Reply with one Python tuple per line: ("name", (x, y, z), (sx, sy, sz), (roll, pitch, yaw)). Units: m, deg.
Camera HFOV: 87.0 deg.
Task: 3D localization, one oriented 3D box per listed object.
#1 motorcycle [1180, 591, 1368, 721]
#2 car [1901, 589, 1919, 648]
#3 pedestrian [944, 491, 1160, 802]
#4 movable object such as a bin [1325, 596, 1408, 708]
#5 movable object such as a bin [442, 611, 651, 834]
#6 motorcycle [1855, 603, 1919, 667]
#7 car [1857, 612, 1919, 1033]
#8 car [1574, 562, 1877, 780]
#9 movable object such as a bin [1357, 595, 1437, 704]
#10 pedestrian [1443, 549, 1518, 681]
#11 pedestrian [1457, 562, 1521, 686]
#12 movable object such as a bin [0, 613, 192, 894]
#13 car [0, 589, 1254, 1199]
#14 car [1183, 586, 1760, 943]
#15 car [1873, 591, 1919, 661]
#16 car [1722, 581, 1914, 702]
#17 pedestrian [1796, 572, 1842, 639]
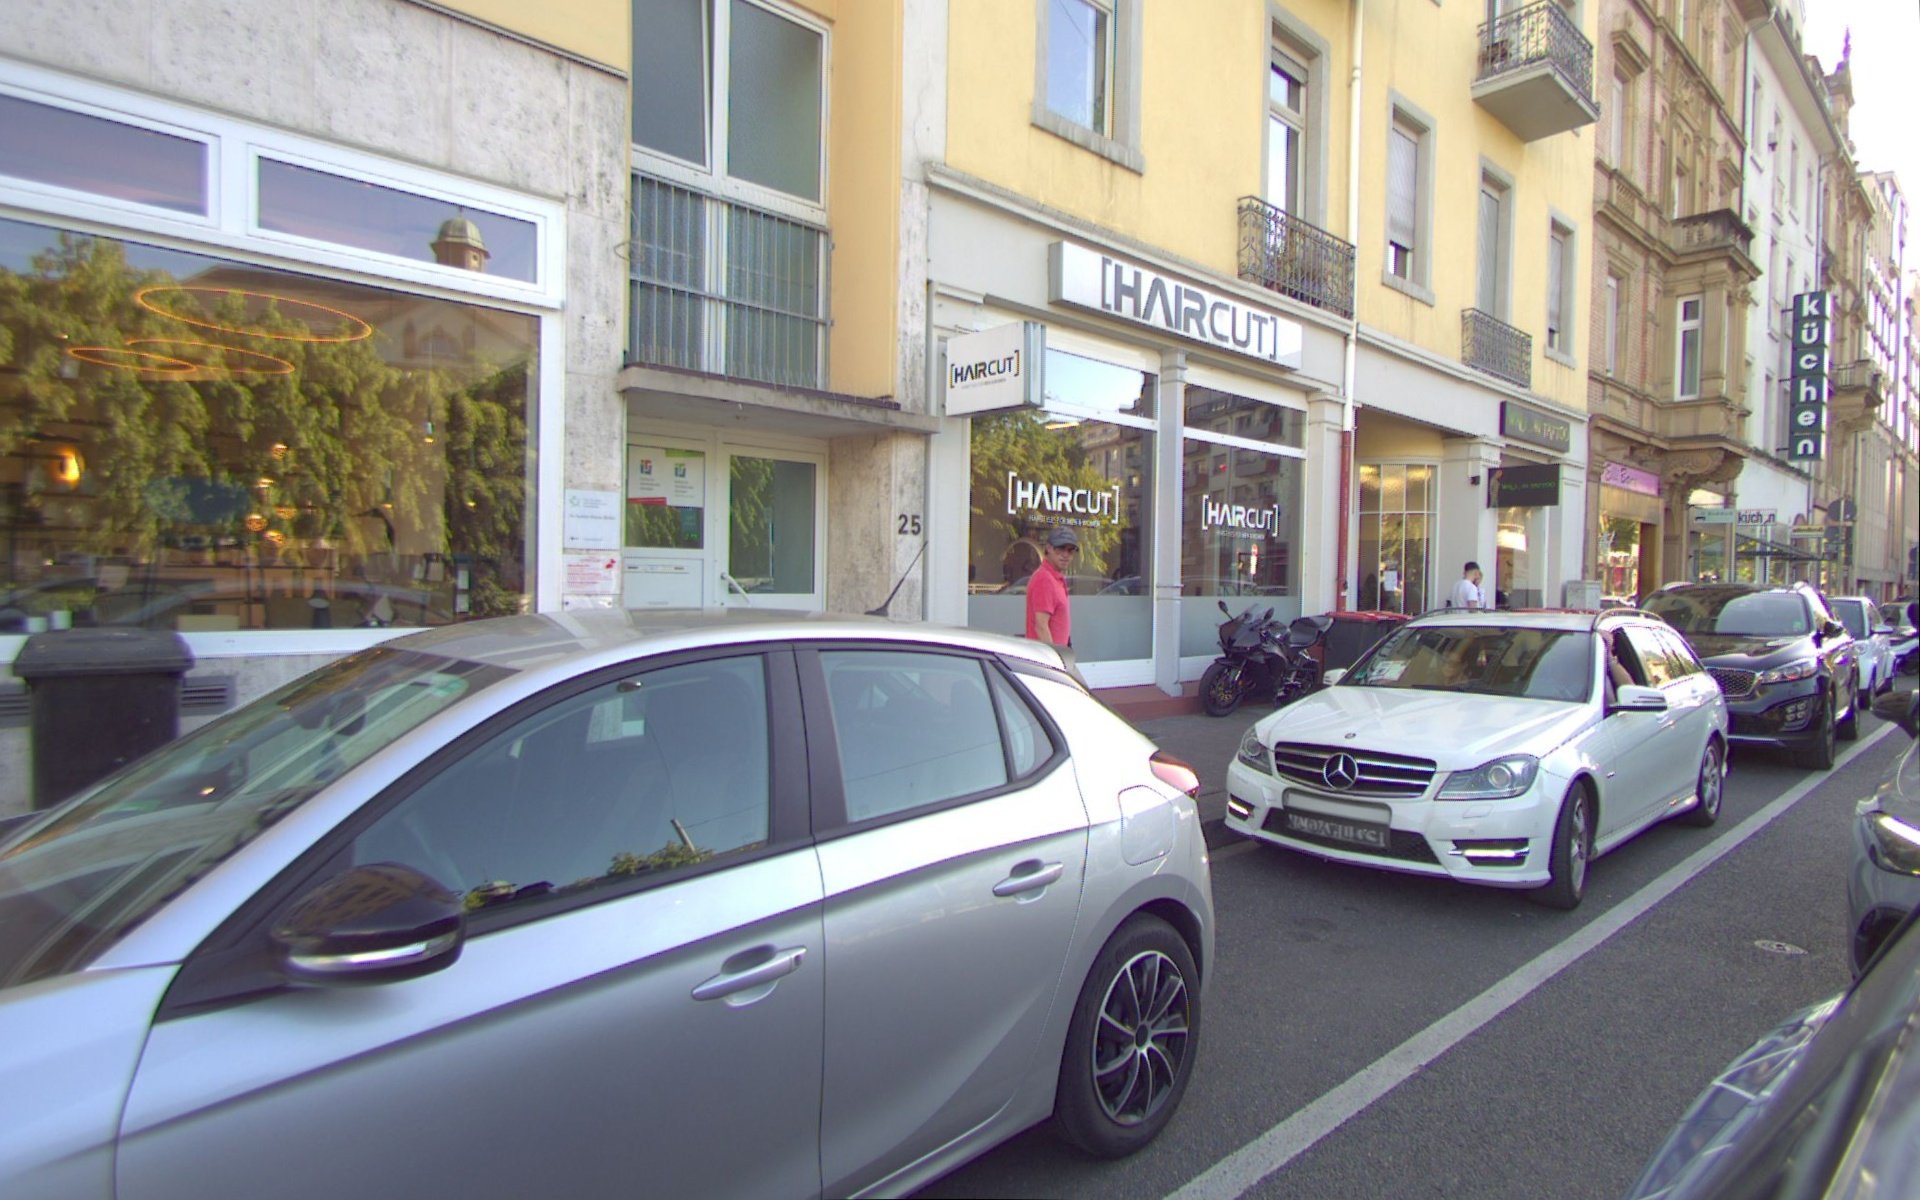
("motorcycle", (3.302, 0.516, 10.521), (2.208, 1.179, 0.773), (0, 4, -41))
("car", (26.381, 0.476, 26.856), (3.931, 1.504, 1.713), (0, 1, -42))
("pedestrian", (0.570, 0.243, 6.468), (0.989, 1.805, 0.868), (0, 3, -32))
("movable object such as a bin", (4.617, 0.566, 11.494), (0.633, 1.222, 0.647), (0, 0, -40))
("movable object such as a bin", (-2.271, 0.609, 5.560), (0.878, 1.066, 0.752), (0, 1, -40))
("motorcycle", (19.269, 0.702, 20.513), (1.514, 1.248, 0.771), (1, 0, 1))
("car", (5.302, 0.765, 4.267), (4.183, 1.396, 1.846), (0, 1, -42))
("car", (7.916, 0.529, 10.275), (1.853, 1.719, 4.623), (1, 1, 45))
("movable object such as a bin", (5.127, 0.559, 11.883), (0.633, 1.222, 0.647), (0, 0, -40))
("pedestrian", (6.666, 0.179, 12.964), (0.689, 1.637, 0.641), (0, 0, -42))
("pedestrian", (7.252, 0.313, 13.871), (0.631, 1.637, 0.572), (0, 0, -40))
("movable object such as a bin", (-3.708, 0.592, 4.367), (0.591, 1.041, 0.812), (0, 1, -40))
("car", (-1.050, 0.694, 2.313), (3.642, 1.415, 1.652), (0, 1, -42))
("car", (3.484, 0.671, 6.412), (4.519, 1.480, 1.757), (0, 1, -42))
("car", (22.205, 0.562, 23.041), (3.931, 1.504, 1.713), (0, 1, -42))
("car", (12.660, 0.525, 14.902), (2.965, 1.587, 1.695), (0, 1, -40))
("pedestrian", (21.404, 0.124, 25.215), (0.750, 1.637, 0.794), (0, 1, -43))
